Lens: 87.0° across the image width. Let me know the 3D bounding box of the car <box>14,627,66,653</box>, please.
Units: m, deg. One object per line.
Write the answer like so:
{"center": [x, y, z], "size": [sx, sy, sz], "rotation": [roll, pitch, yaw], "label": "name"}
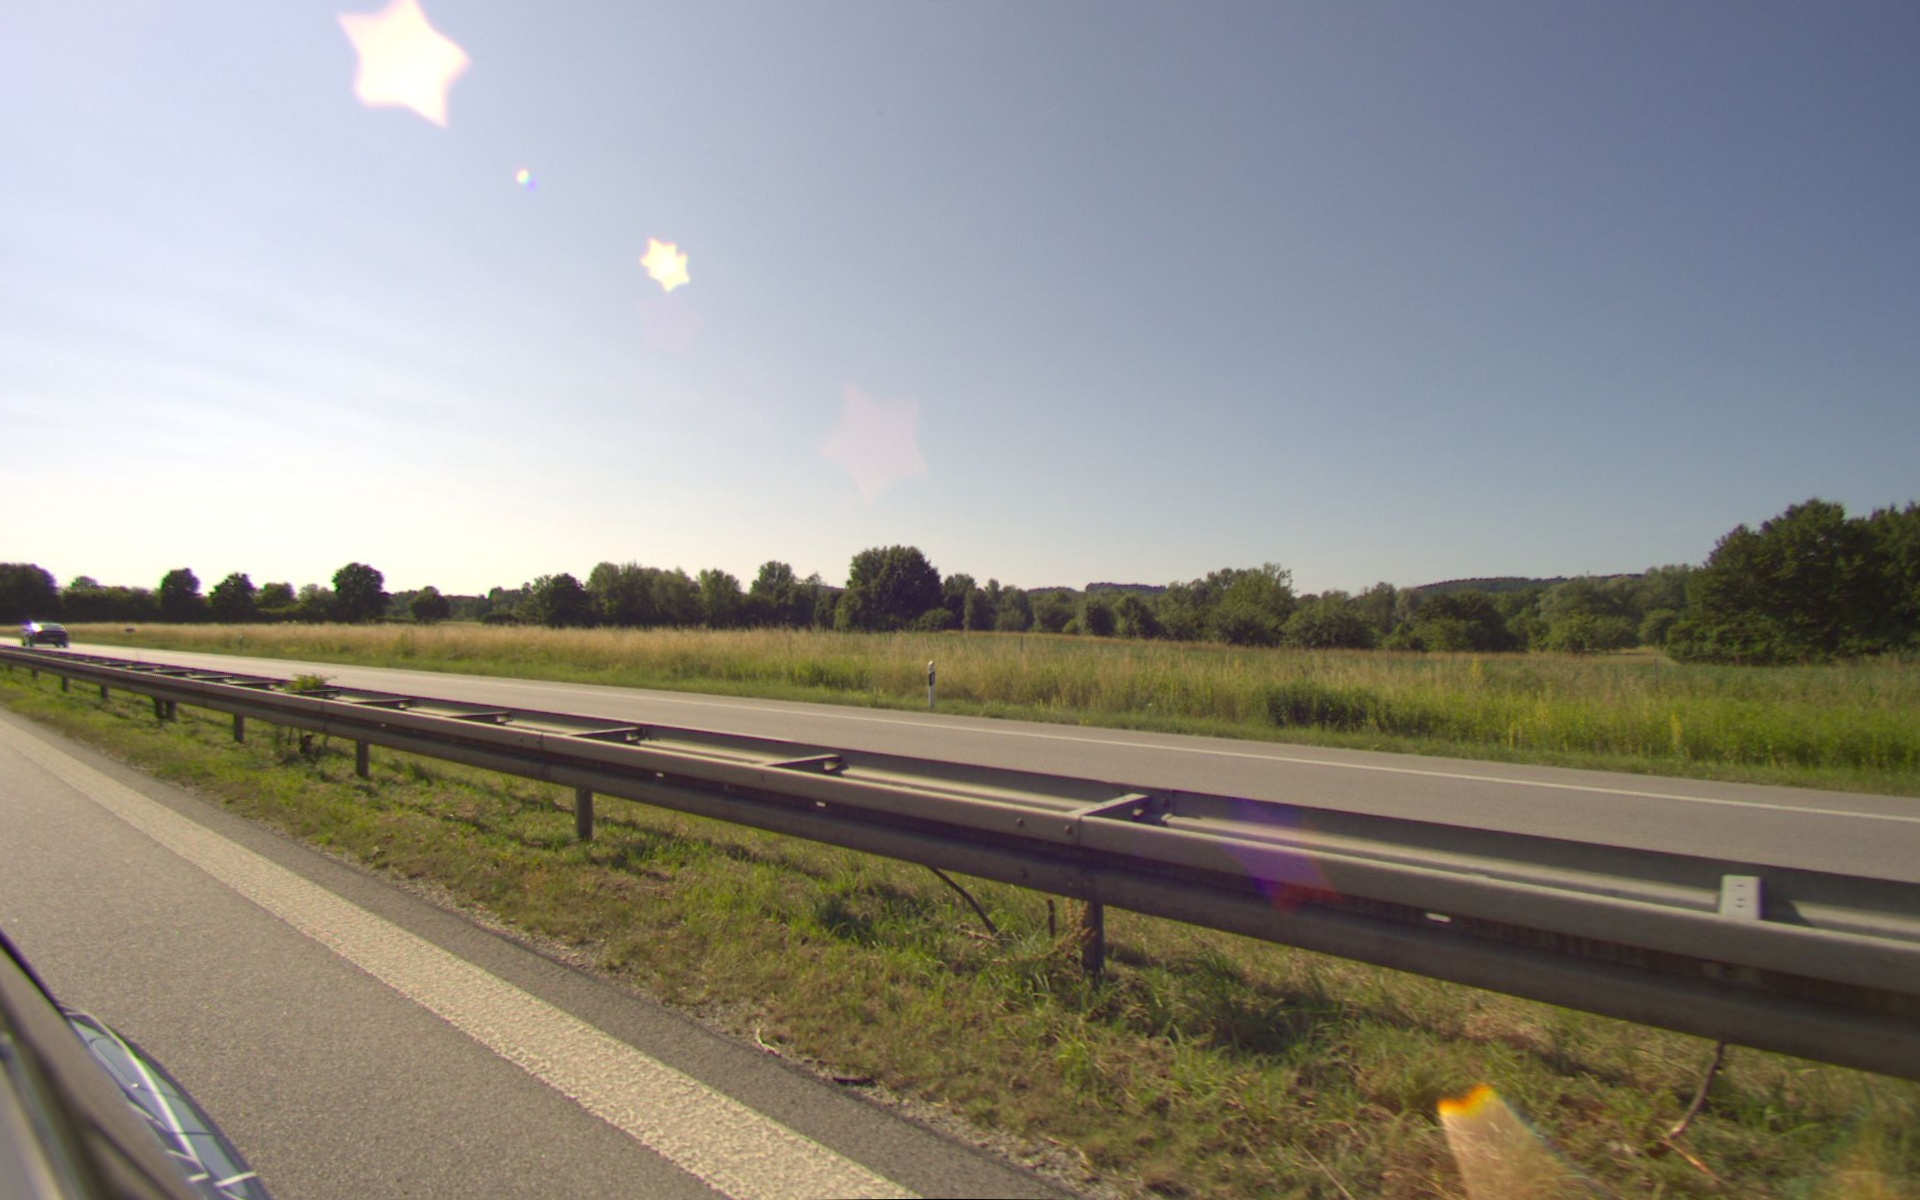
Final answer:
{"center": [-55.645, 2.401, 61.197], "size": [4.910, 1.497, 1.751], "rotation": [-1, -3, 41], "label": "car"}
